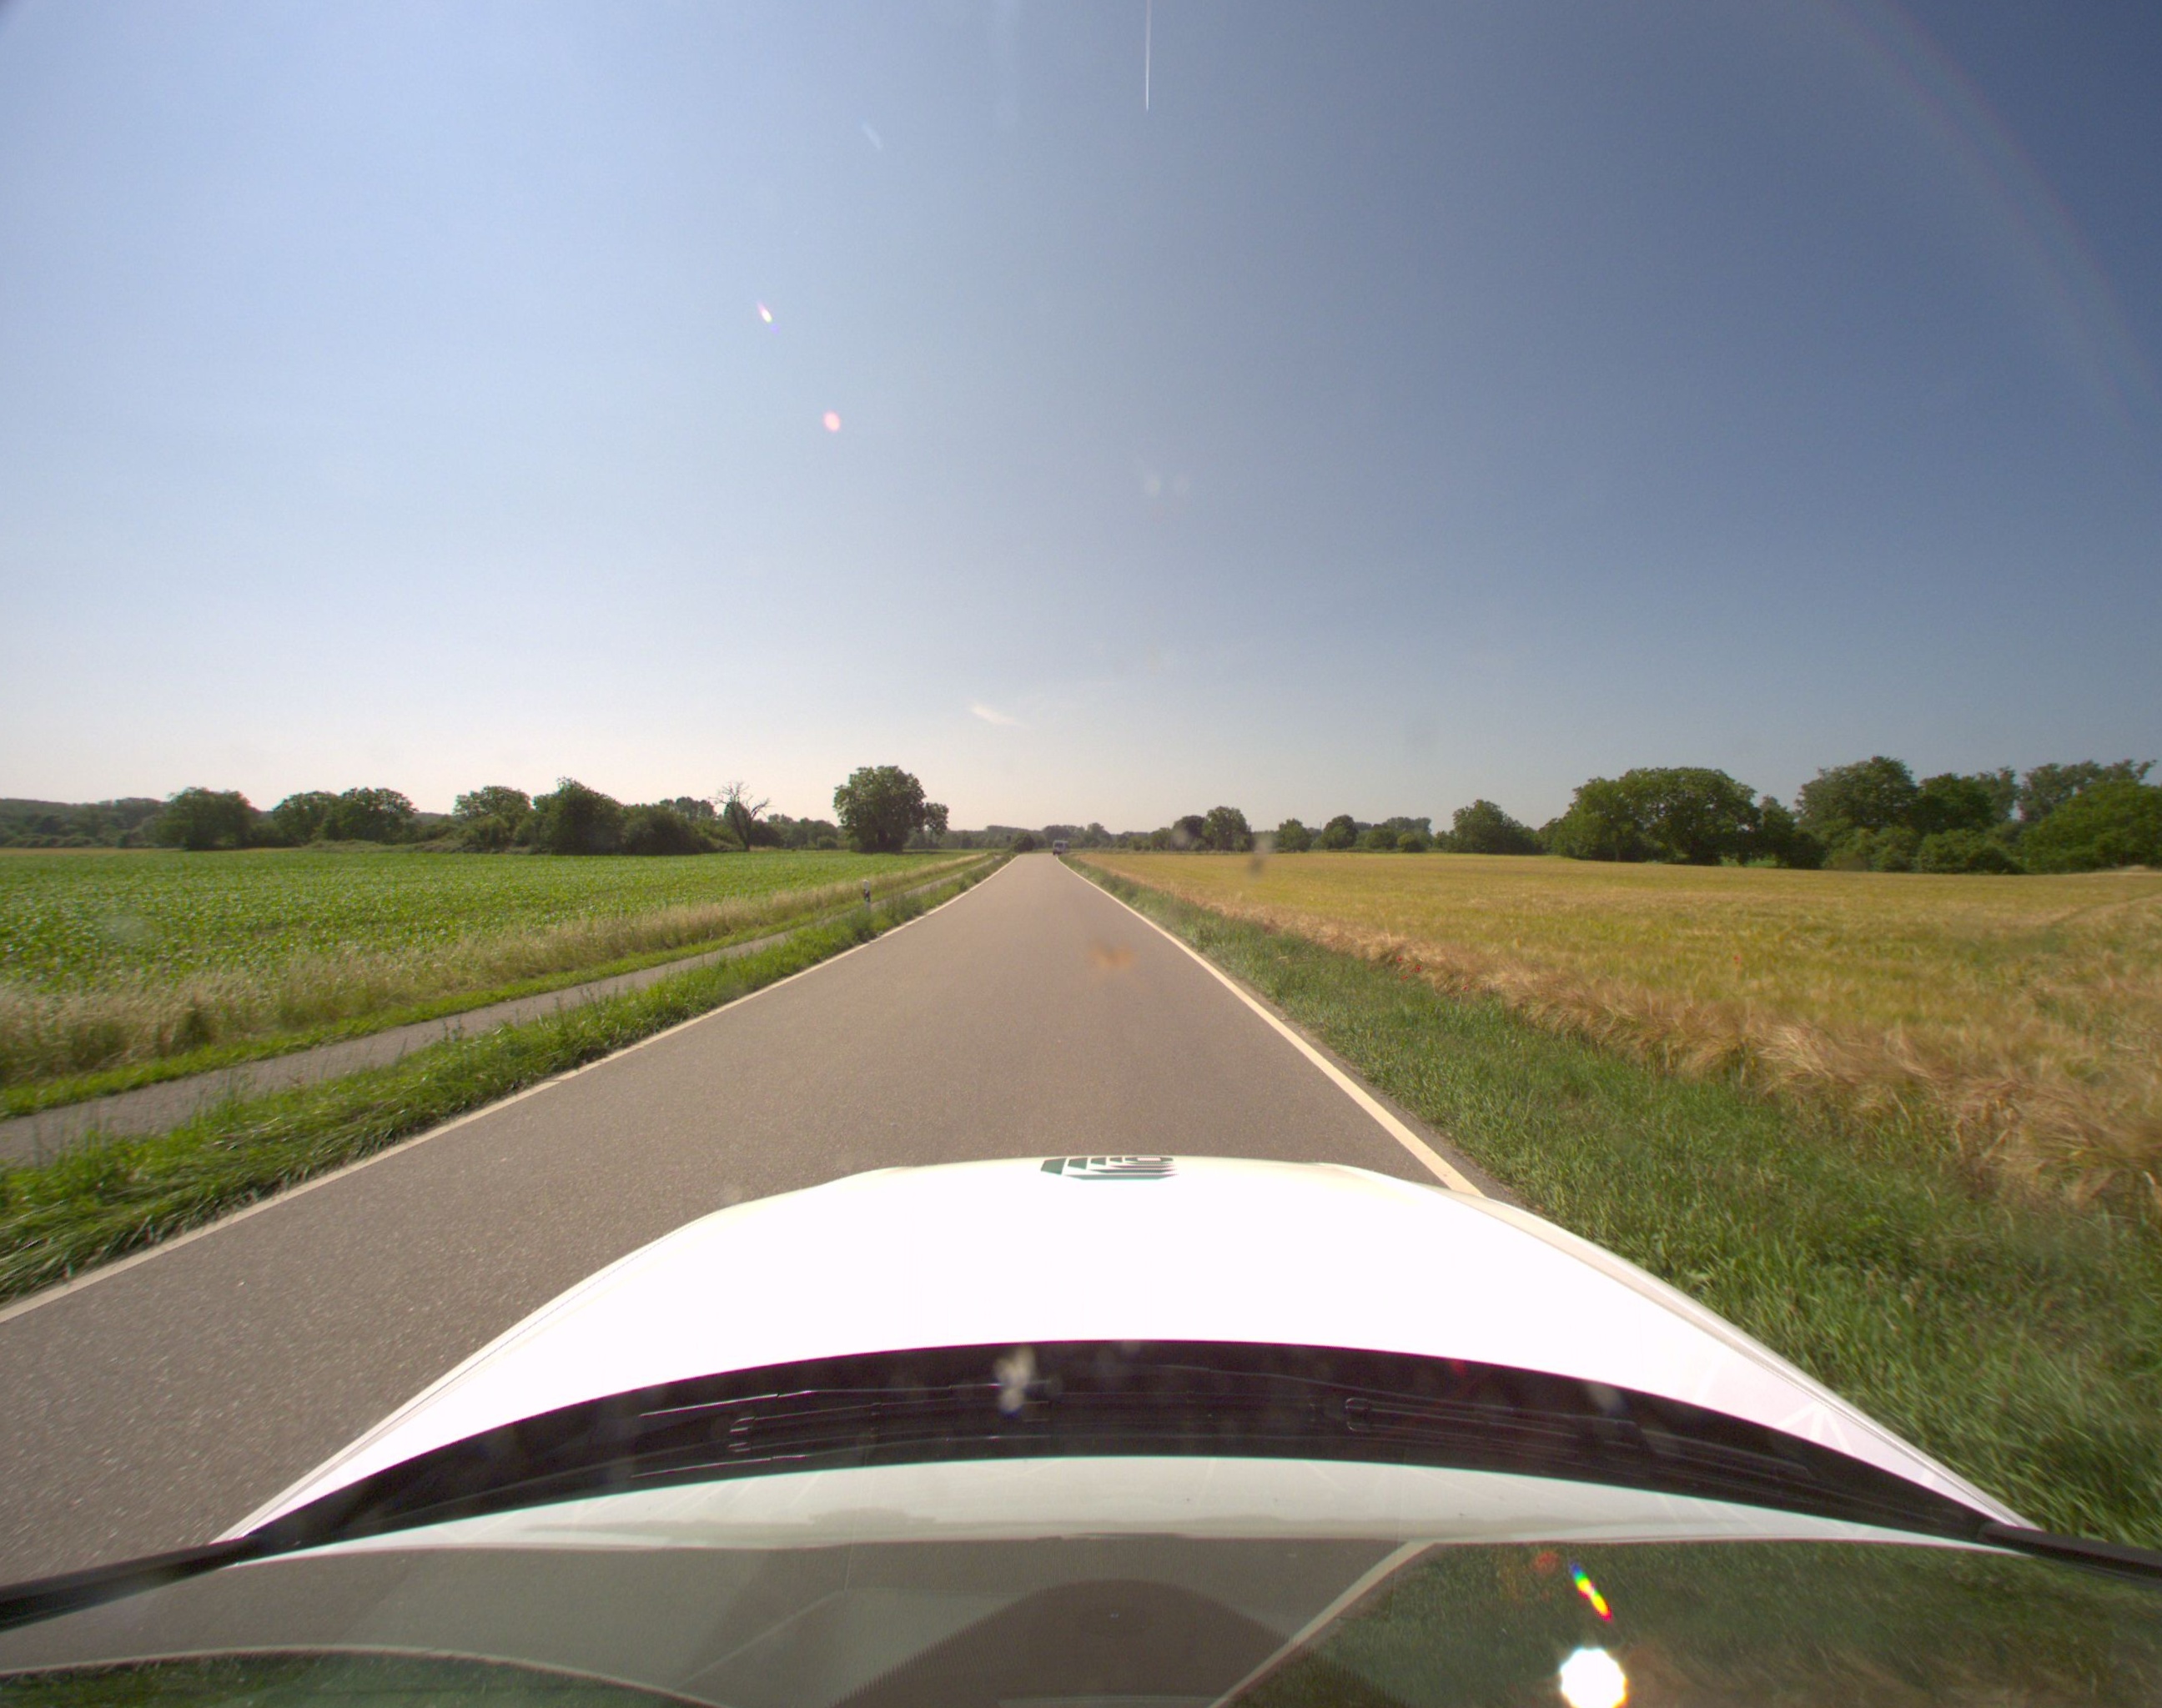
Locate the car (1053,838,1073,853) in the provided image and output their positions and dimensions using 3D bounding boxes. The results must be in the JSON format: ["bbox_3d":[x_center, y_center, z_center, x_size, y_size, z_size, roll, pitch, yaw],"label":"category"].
[{"bbox_3d":[-2.936,-1.442,135.541,2.090,2.367,5.705,0,1,12],"label":"car"}]
